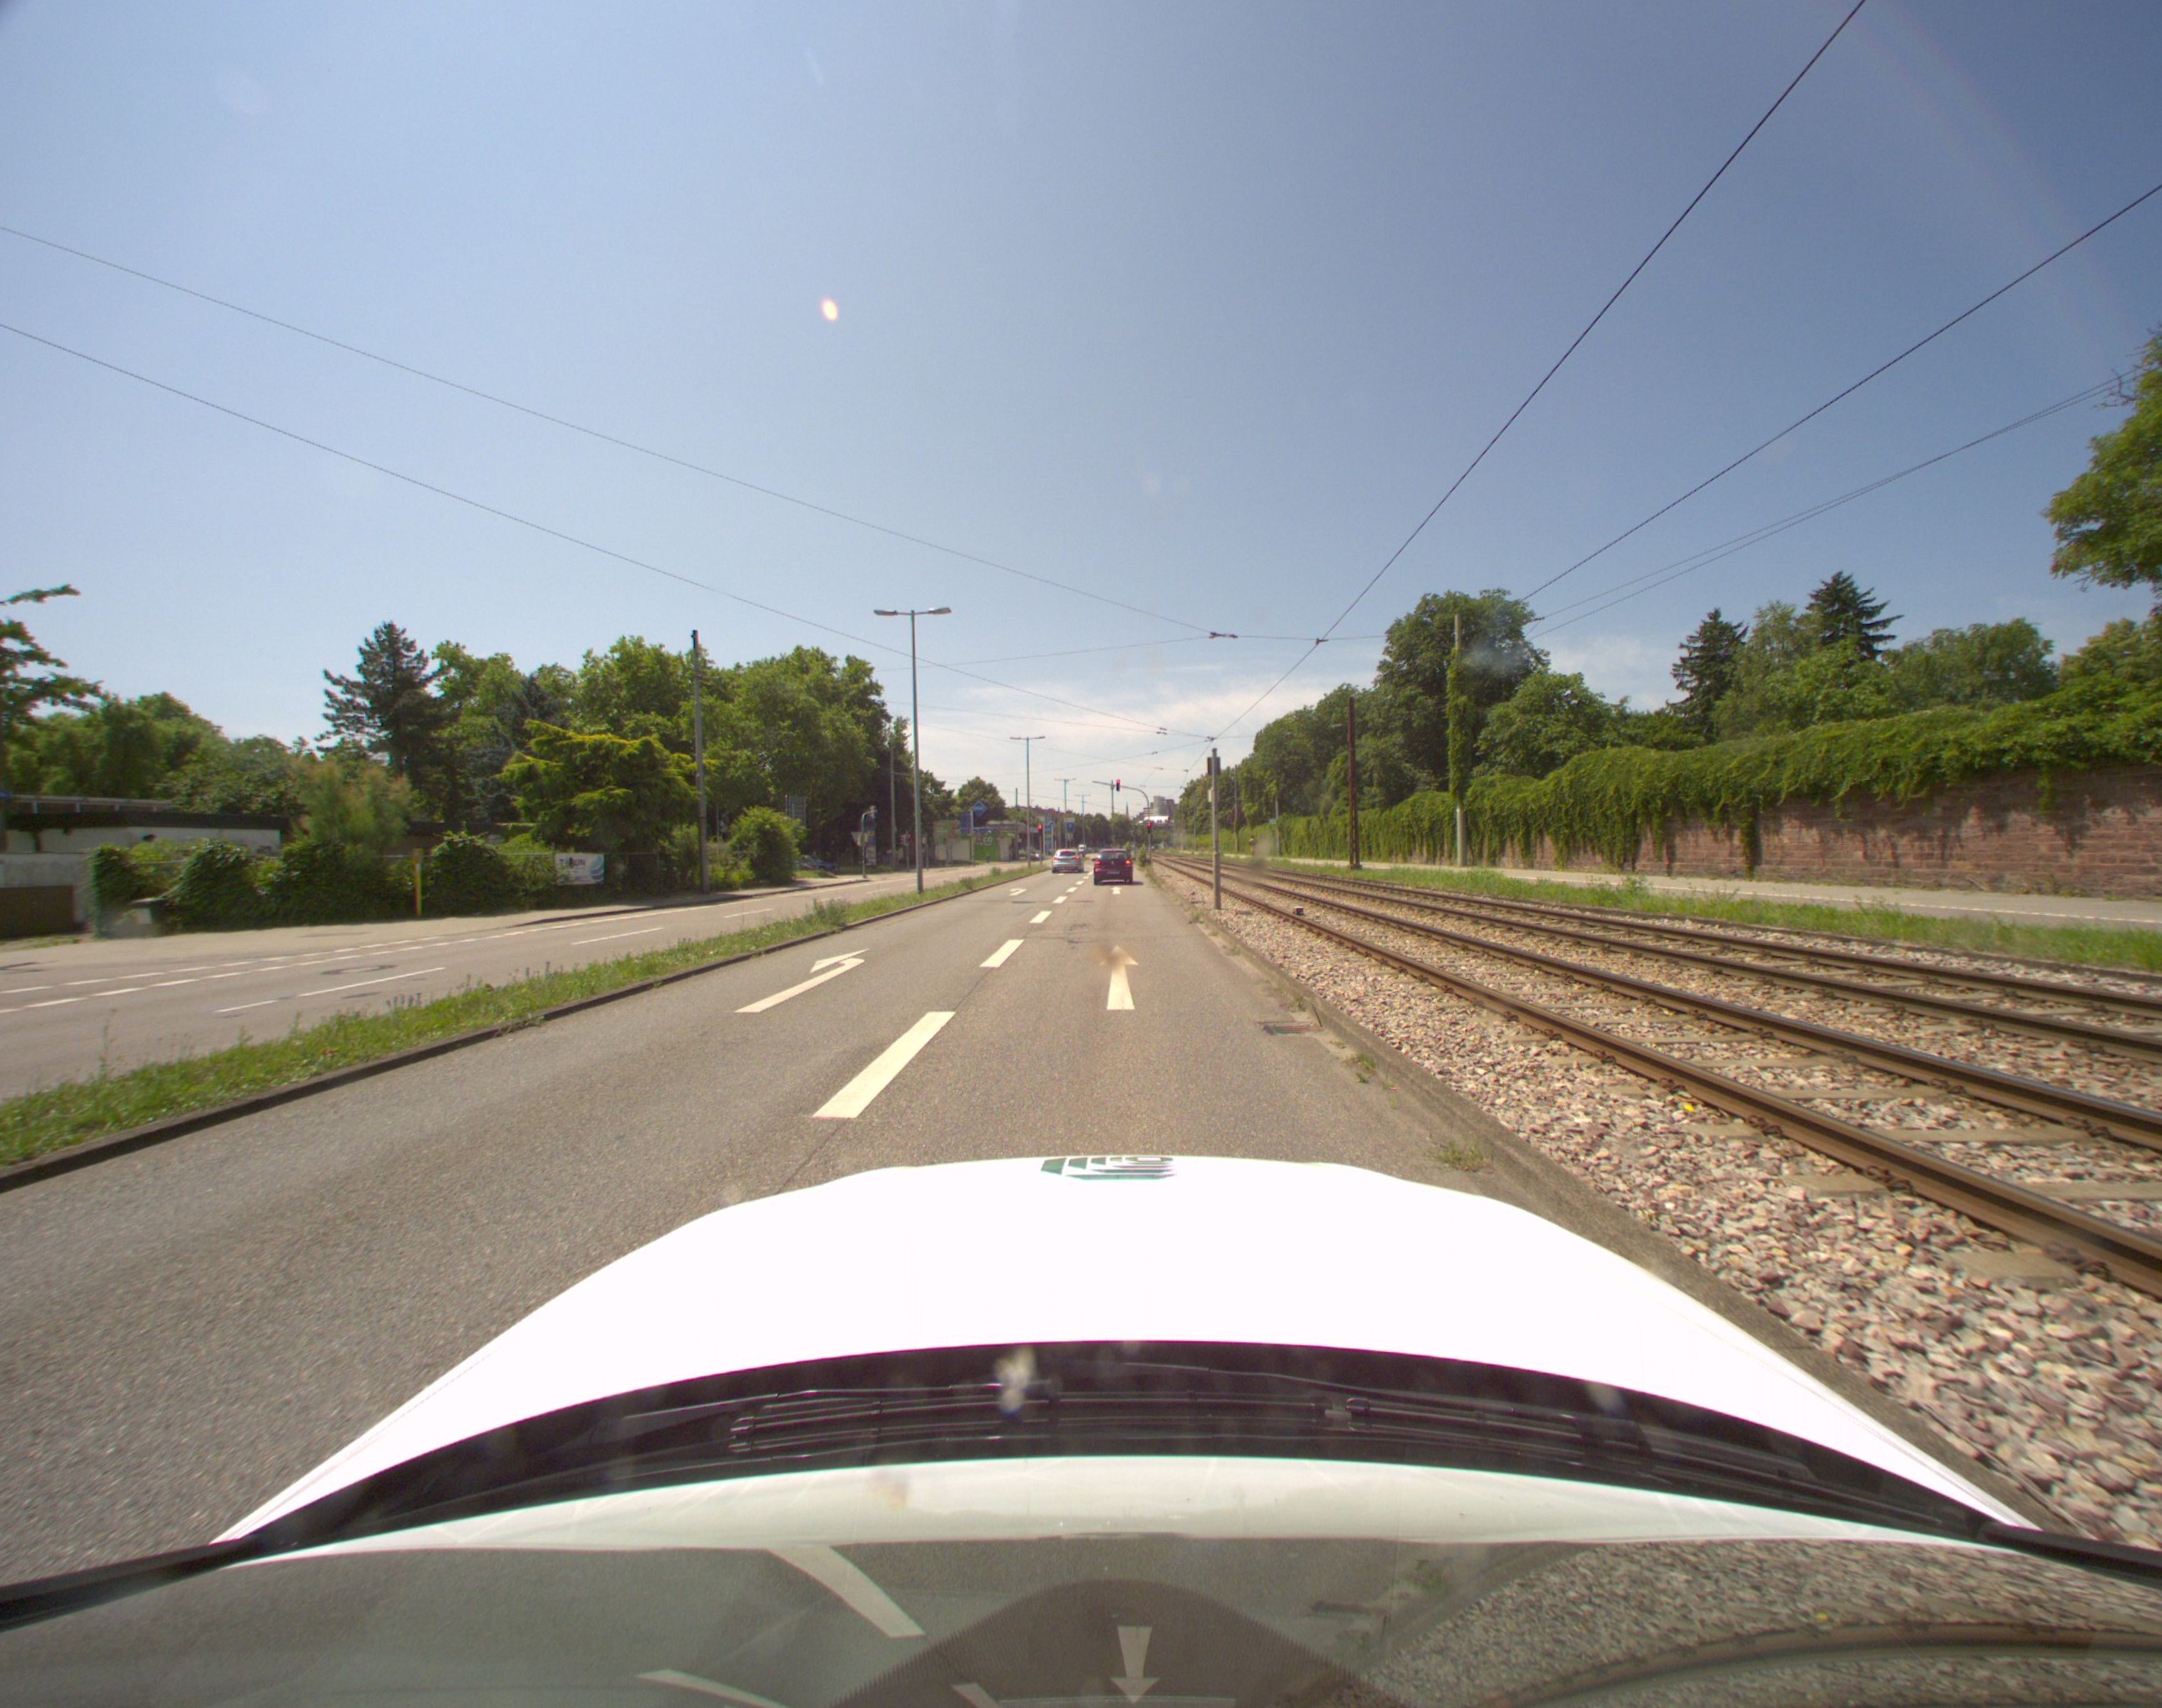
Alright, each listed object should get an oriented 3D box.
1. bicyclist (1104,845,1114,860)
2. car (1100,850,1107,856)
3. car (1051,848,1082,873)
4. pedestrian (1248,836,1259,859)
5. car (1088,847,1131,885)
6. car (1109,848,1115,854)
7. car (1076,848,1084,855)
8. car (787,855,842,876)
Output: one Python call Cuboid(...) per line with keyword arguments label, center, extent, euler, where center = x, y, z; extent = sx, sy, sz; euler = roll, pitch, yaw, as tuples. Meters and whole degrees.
Cuboid(label="bicyclist", center=(3.102, -0.139, 89.394), extent=(0.943, 1.593, 1.085), euler=(0, -1, -7))
Cuboid(label="car", center=(6.188, -0.230, 220.914), extent=(1.729, 1.418, 4.004), euler=(-2, 0, 4))
Cuboid(label="car", center=(-0.863, 0.421, 50.885), extent=(1.696, 1.480, 3.719), euler=(-1, 0, 3))
Cuboid(label="pedestrian", center=(13.375, -0.511, 63.207), extent=(0.659, 1.726, 0.817), euler=(-2, 0, 1))
Cuboid(label="car", center=(1.185, 0.478, 34.375), extent=(1.697, 1.477, 3.717), euler=(-1, 0, 1))
Cuboid(label="car", center=(9.588, -1.012, 252.439), extent=(1.986, 1.750, 4.001), euler=(0, -1, 1))
Cuboid(label="car", center=(-0.213, -0.659, 209.163), extent=(1.989, 1.596, 3.996), euler=(0, -1, -2))
Cuboid(label="car", center=(-22.070, 0.935, 67.511), extent=(3.959, 1.579, 1.778), euler=(-2, 0, 13))
